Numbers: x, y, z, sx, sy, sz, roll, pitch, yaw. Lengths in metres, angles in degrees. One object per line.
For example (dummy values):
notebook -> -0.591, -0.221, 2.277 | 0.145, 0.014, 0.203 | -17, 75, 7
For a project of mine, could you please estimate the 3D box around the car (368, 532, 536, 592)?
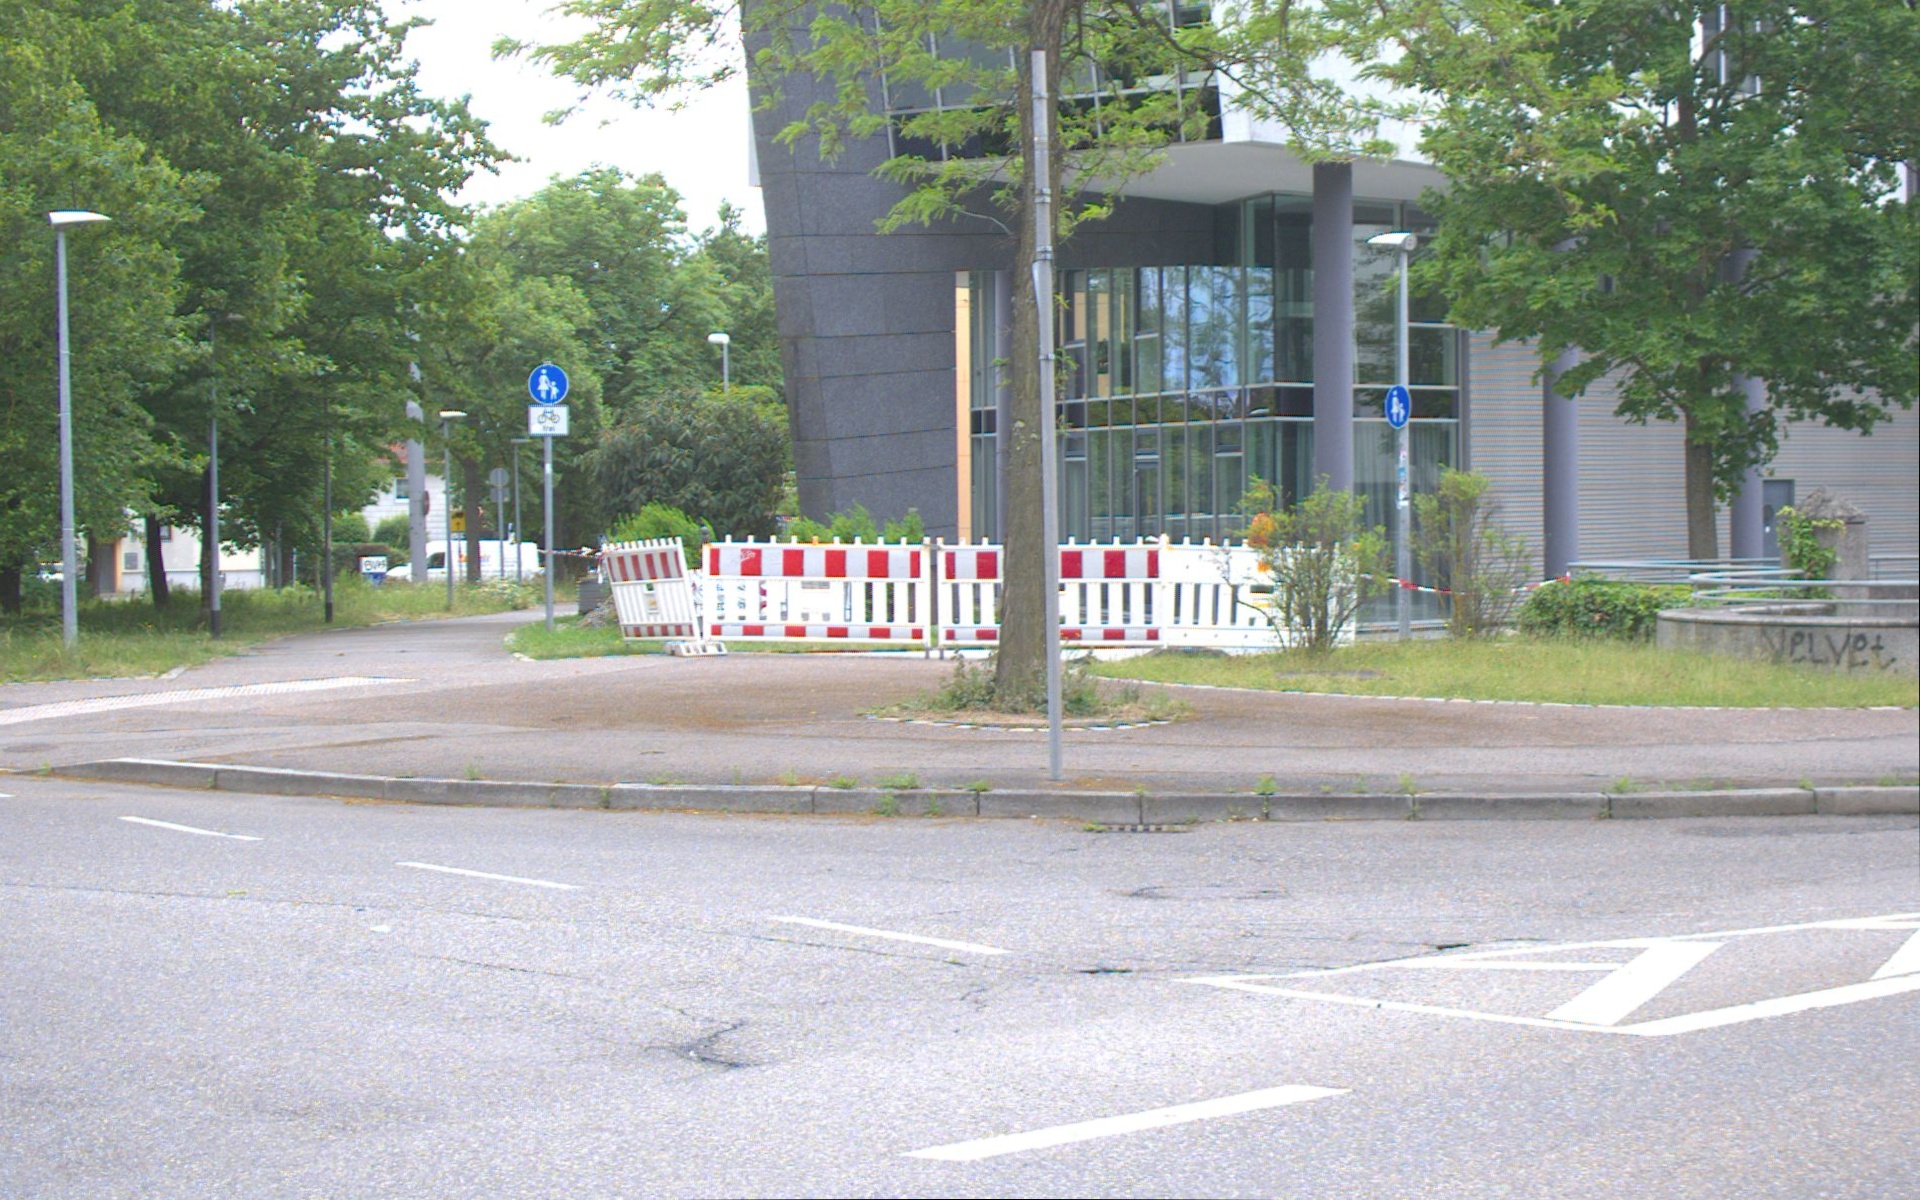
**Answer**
car -> -22.128, -1.649, 149.867 | 6.957, 2.513, 2.085 | 0, 1, -29
